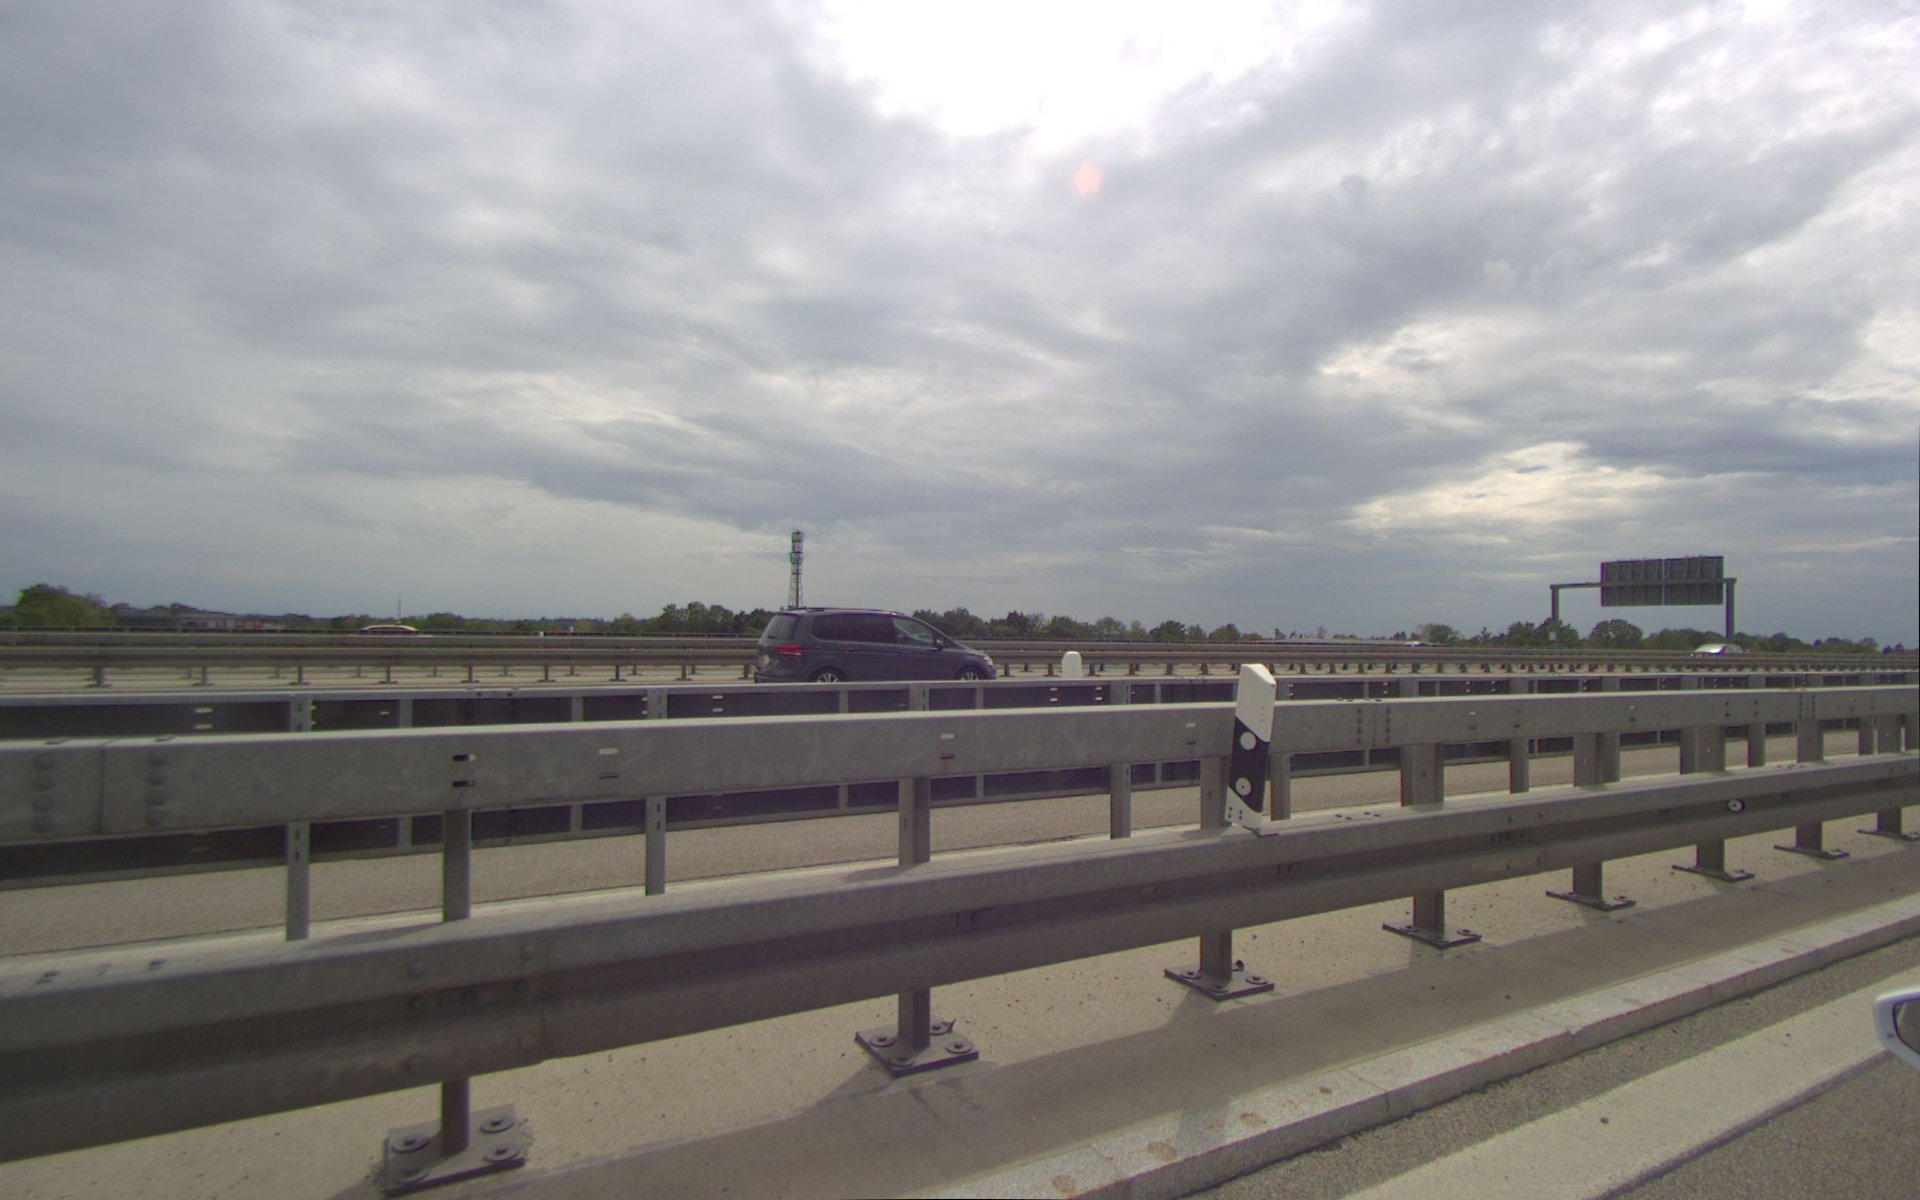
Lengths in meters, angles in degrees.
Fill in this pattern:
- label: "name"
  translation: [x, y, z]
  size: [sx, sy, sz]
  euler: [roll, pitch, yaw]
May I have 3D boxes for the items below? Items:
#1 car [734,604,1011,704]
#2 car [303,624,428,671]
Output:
- label: "car"
  translation: [-1.510, 0.915, 17.887]
  size: [4.561, 1.567, 1.871]
  euler: [2, 0, -31]
- label: "car"
  translation: [-22.417, 1.790, 38.034]
  size: [3.952, 1.650, 1.721]
  euler: [2, -1, -29]
